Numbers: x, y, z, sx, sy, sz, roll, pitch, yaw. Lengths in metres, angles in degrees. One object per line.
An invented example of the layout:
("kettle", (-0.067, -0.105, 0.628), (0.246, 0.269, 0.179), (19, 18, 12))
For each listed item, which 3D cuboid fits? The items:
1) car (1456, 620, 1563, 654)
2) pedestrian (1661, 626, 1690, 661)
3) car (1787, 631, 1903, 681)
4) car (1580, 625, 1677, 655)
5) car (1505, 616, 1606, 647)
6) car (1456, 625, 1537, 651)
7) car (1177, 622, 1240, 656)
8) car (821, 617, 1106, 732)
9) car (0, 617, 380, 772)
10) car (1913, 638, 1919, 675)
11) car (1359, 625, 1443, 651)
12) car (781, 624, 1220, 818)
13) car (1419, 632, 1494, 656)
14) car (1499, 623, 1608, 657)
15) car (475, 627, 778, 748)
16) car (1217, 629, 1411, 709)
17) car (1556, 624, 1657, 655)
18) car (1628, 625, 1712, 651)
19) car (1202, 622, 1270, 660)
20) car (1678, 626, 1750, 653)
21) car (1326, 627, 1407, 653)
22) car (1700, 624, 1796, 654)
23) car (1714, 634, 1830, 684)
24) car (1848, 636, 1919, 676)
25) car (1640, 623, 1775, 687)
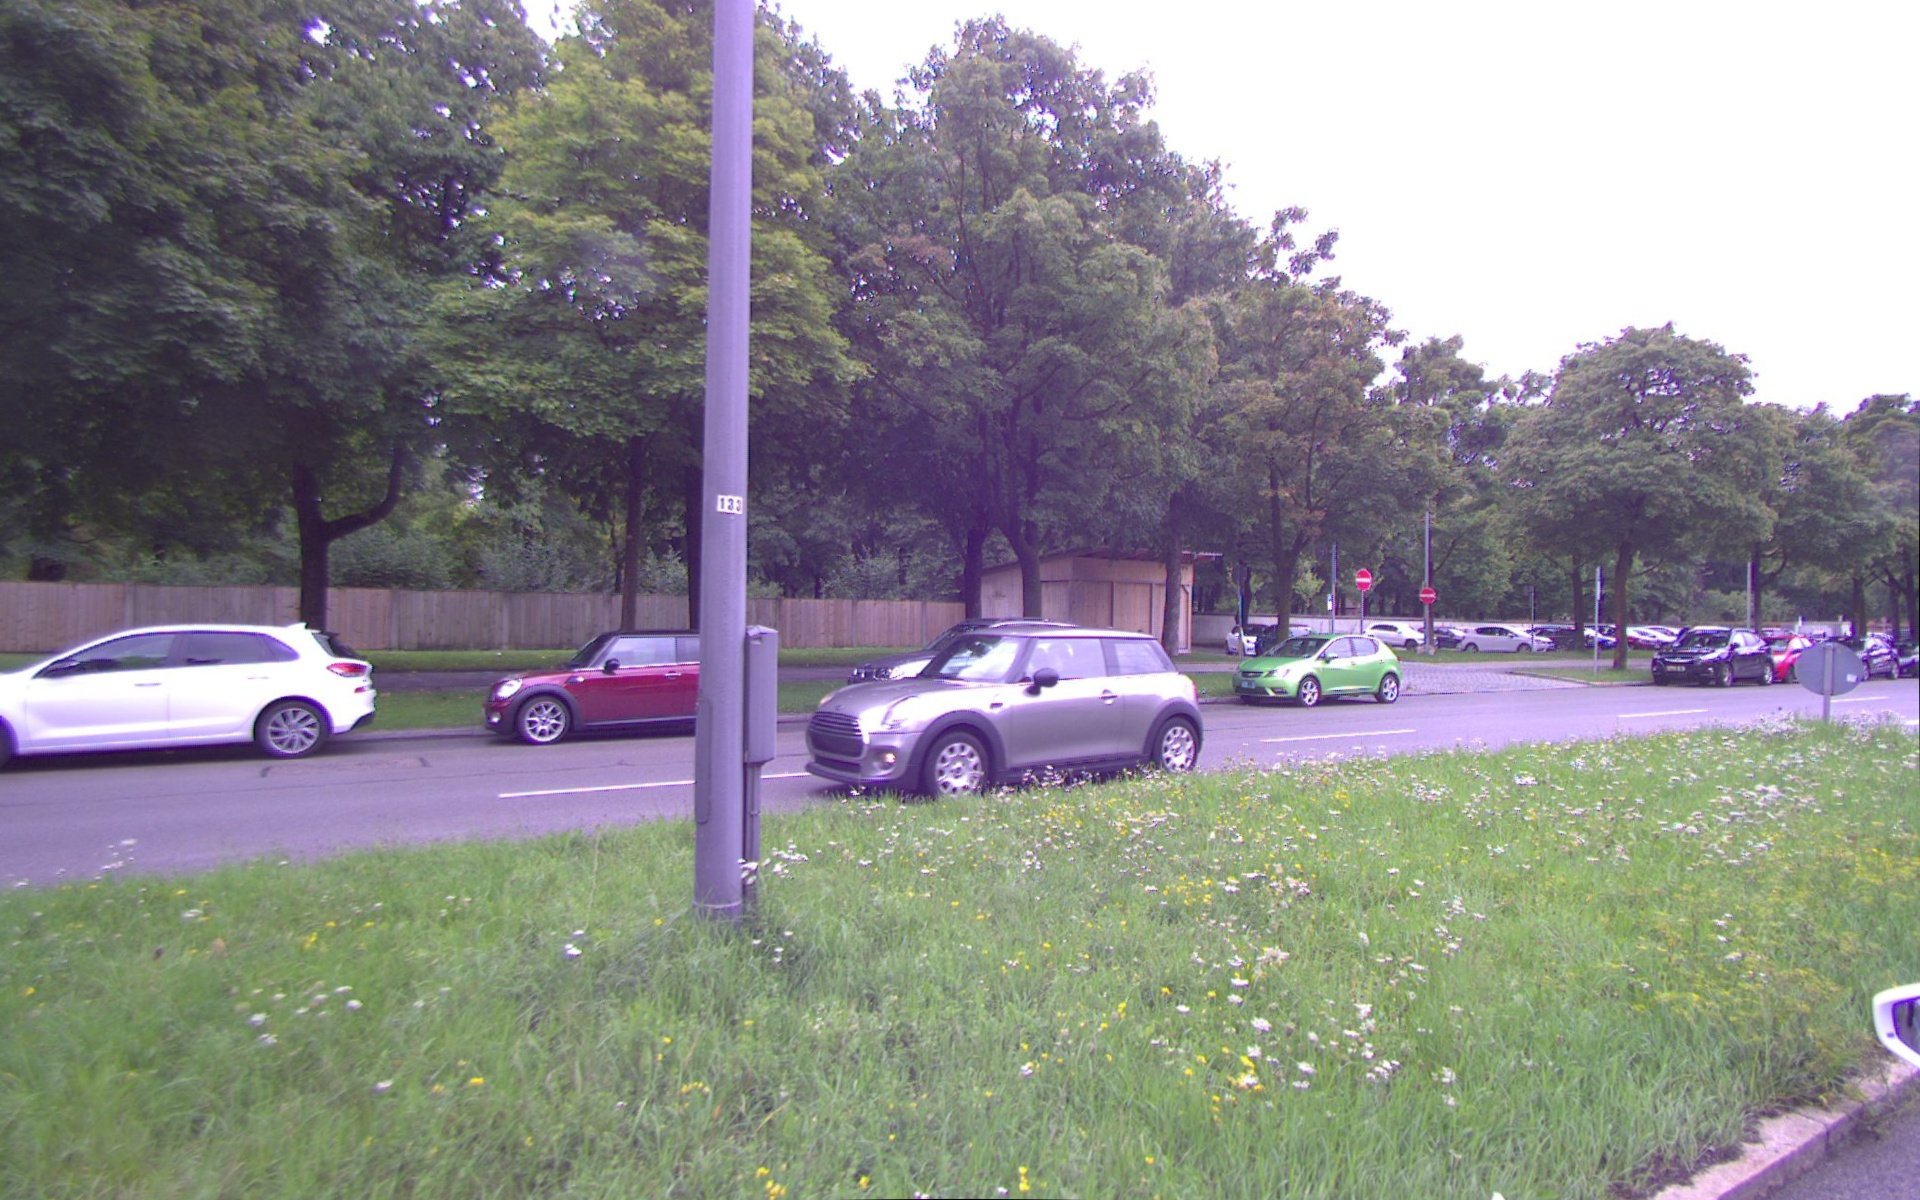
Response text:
("car", (25.820, 1.733, 47.284), (1.981, 1.461, 3.960), (1, -1, -35))
("pedestrian", (31.684, 1.904, 44.491), (0.846, 1.515, 0.791), (1, -1, -30))
("car", (30.685, 1.918, 34.812), (4.063, 1.620, 1.813), (2, -1, -30))
("car", (36.058, 2.122, 54.238), (1.981, 1.461, 3.960), (1, -1, -35))
("car", (29.948, 1.564, 50.612), (1.981, 1.461, 3.960), (1, -1, -35))
("car", (36.452, 2.563, 68.370), (1.977, 1.647, 4.483), (1, -1, -31))
("car", (11.533, 1.774, 46.863), (1.822, 1.428, 4.469), (1, -1, 0))
("car", (0.111, 1.140, 16.443), (4.405, 1.652, 1.812), (1, -2, -31))
("car", (-8.846, 0.982, 11.057), (4.209, 1.496, 1.813), (1, -3, -30))
("car", (40.401, 2.270, 40.711), (3.960, 1.466, 1.810), (2, -3, -35))
("car", (27.209, 2.311, 62.116), (1.975, 1.461, 4.488), (1, -1, -28))
("car", (0.448, 0.958, 9.099), (3.730, 1.400, 1.707), (2, -3, -35))
("car", (31.530, 2.767, 63.877), (1.853, 1.391, 3.975), (1, -1, -25))
("car", (28.571, 1.894, 48.460), (1.978, 1.461, 4.112), (1, -1, -32))
("car", (-4.478, 1.119, 13.592), (3.643, 1.440, 1.642), (1, -3, -30))
("car", (7.359, 1.381, 20.814), (3.953, 1.519, 1.633), (1, -2, -30))
("car", (33.244, 2.008, 51.754), (1.981, 1.461, 3.960), (1, -1, -35))
("car", (44.767, 2.372, 63.401), (1.981, 1.461, 3.960), (1, -1, -35))
("car", (11.624, 1.698, 42.496), (1.822, 1.428, 3.859), (1, -1, 0))
("car", (63.583, 3.312, 84.796), (1.977, 2.061, 4.483), (1, -1, -31))
("car", (24.895, 2.440, 61.675), (1.974, 1.461, 4.490), (1, -1, -26))
("car", (44.881, 2.184, 57.291), (1.792, 1.591, 3.970), (1, -1, -28))
("car", (26.398, 1.914, 32.629), (3.768, 1.499, 1.811), (3, -1, -32))
("car", (35.314, 2.065, 37.658), (3.951, 1.428, 1.814), (1, -3, -29))
("car", (22.131, 1.627, 29.692), (4.193, 1.722, 1.811), (3, -1, -32))
